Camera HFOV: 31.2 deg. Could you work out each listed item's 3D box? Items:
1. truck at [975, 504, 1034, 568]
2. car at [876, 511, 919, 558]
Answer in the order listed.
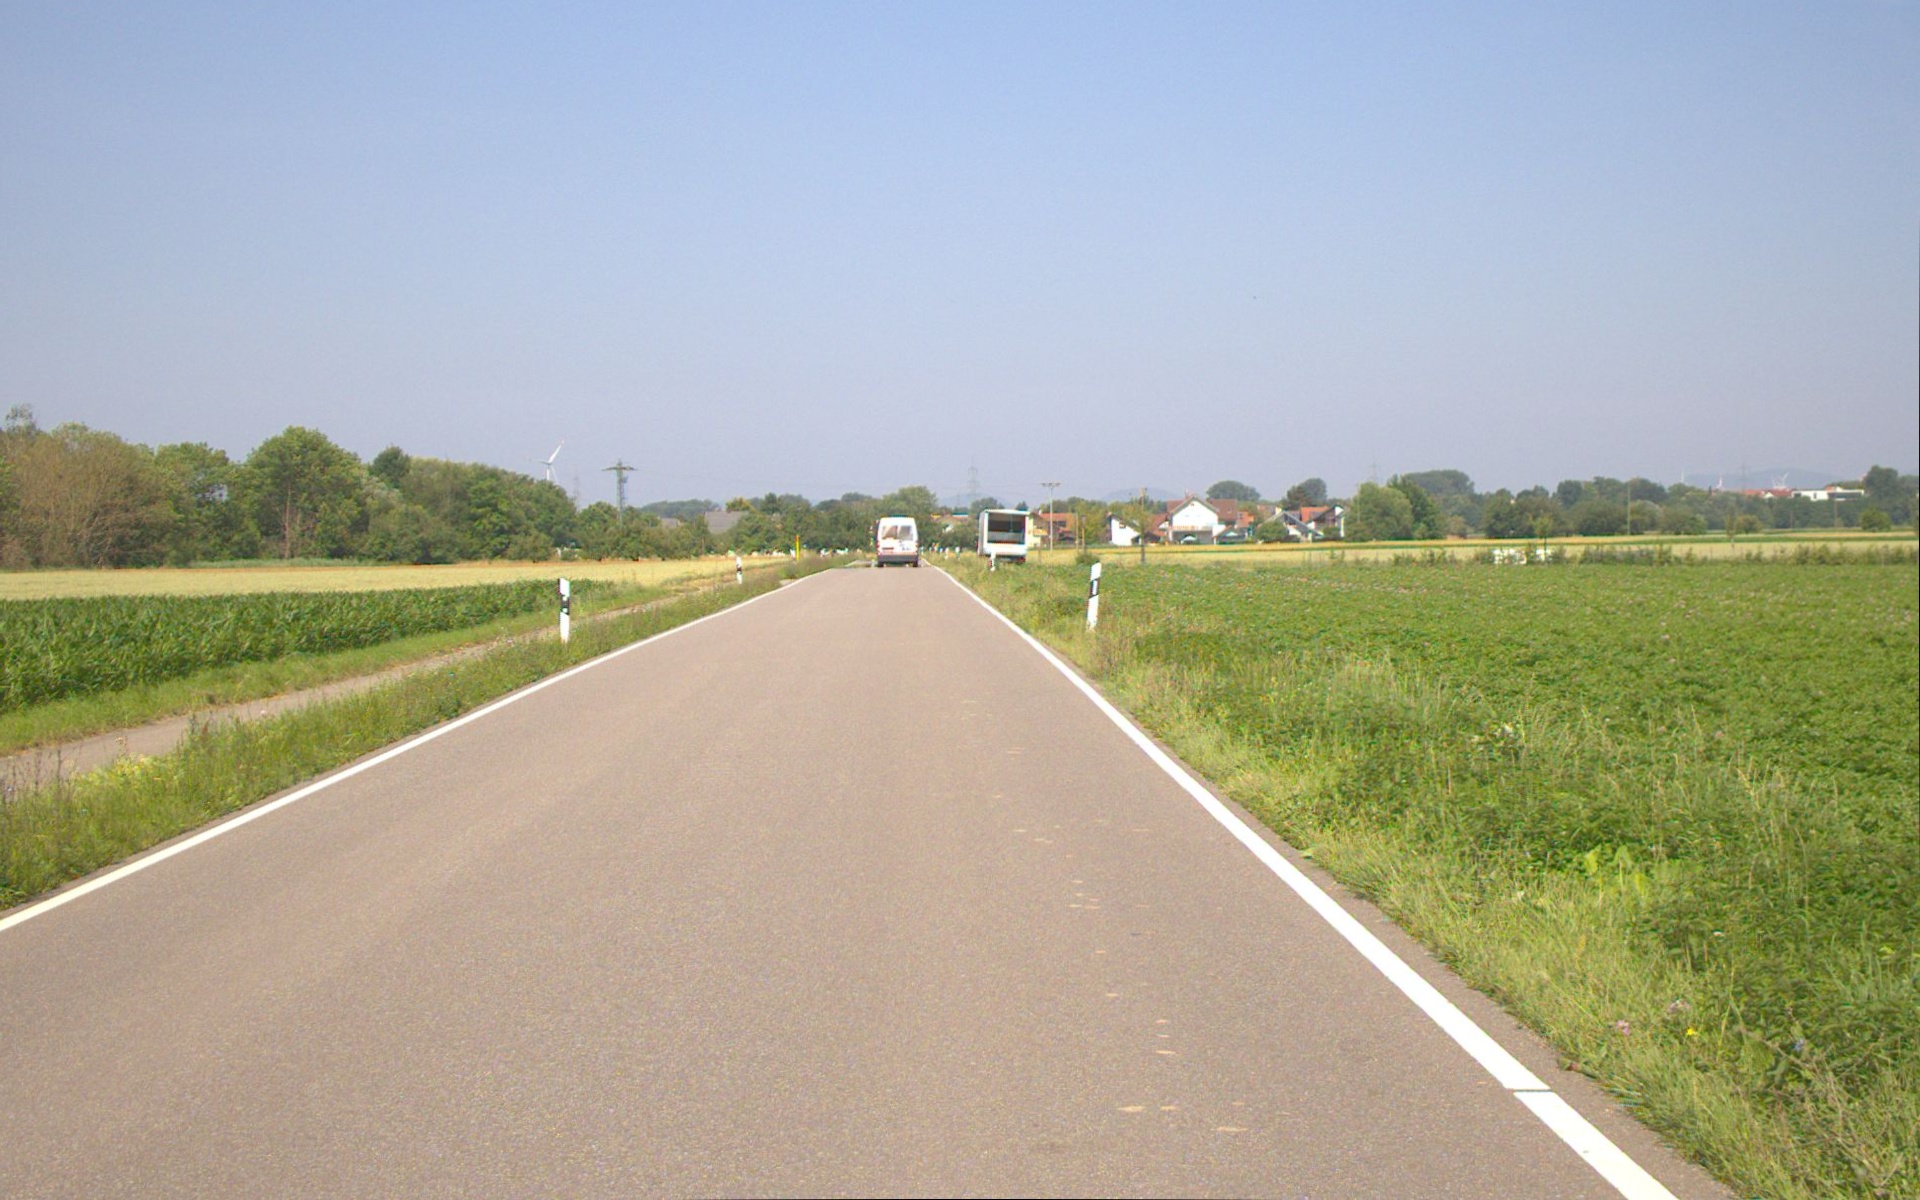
[{"bbox_3d":[2.149,-3.110,167.502,2.335,2.932,7.009,2,1,-3],"label":"truck"},{"bbox_3d":[-3.114,-3.251,171.134,2.107,2.296,5.496,1,1,-1],"label":"car"}]
